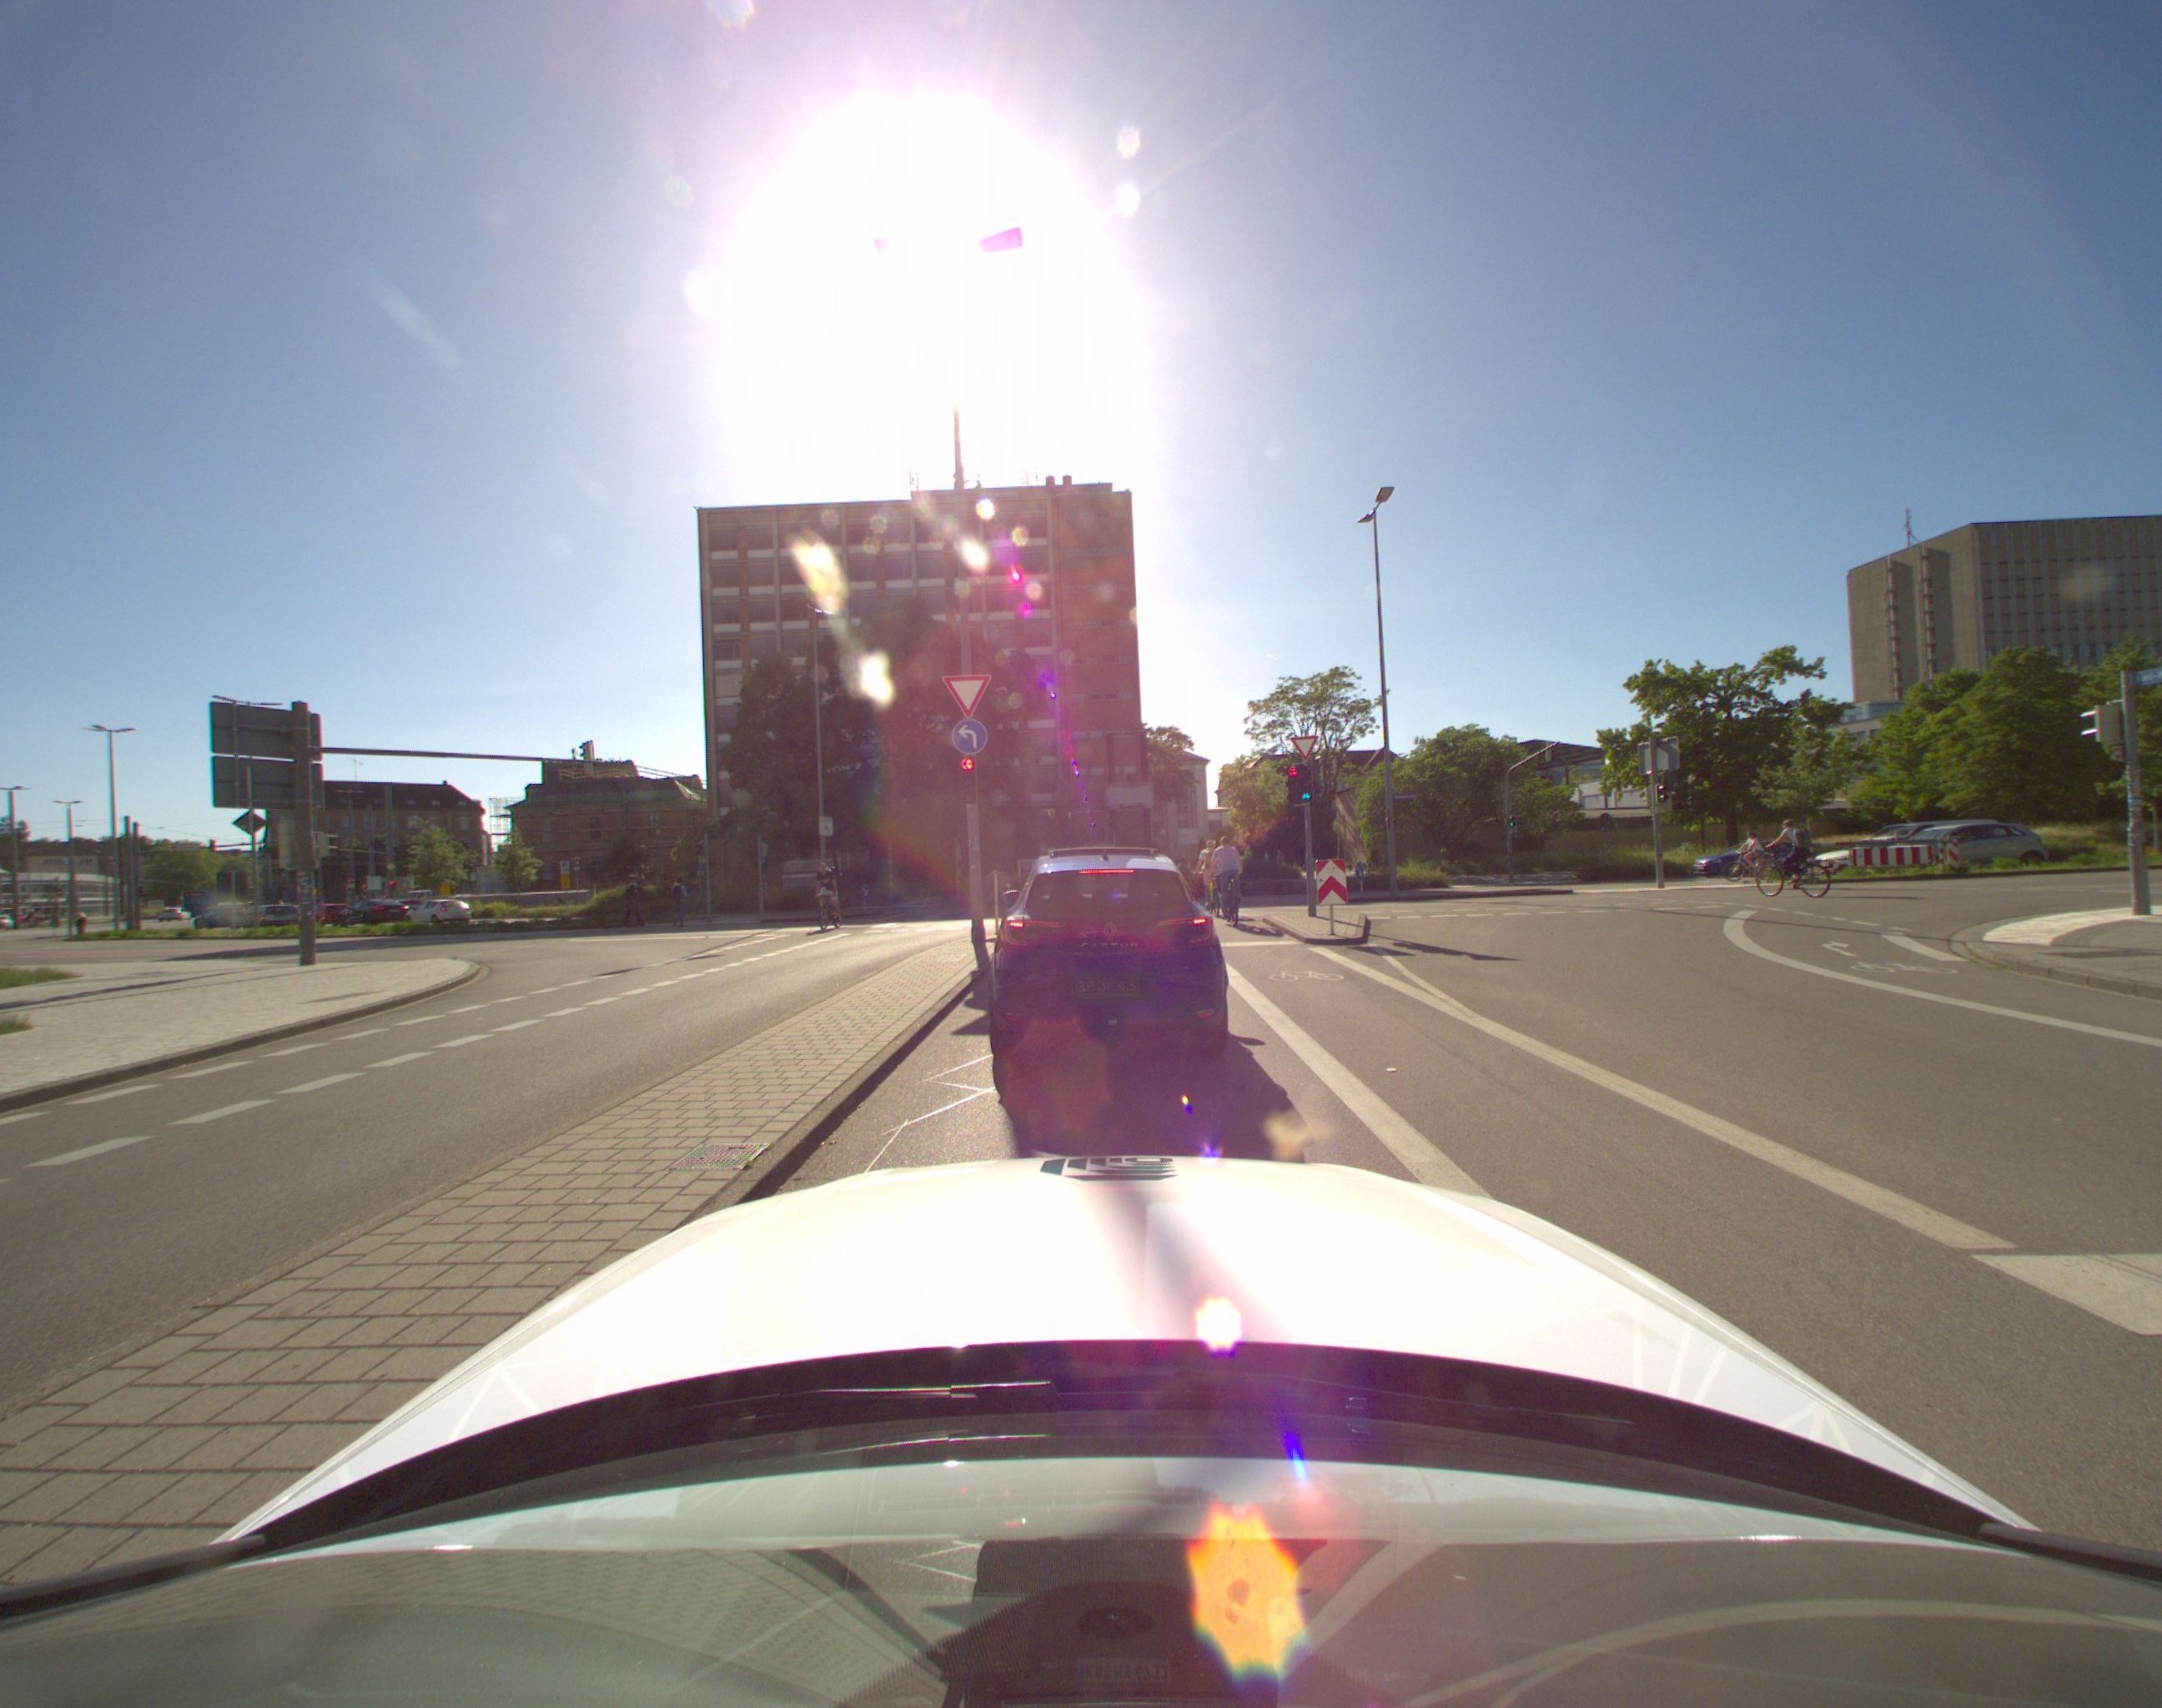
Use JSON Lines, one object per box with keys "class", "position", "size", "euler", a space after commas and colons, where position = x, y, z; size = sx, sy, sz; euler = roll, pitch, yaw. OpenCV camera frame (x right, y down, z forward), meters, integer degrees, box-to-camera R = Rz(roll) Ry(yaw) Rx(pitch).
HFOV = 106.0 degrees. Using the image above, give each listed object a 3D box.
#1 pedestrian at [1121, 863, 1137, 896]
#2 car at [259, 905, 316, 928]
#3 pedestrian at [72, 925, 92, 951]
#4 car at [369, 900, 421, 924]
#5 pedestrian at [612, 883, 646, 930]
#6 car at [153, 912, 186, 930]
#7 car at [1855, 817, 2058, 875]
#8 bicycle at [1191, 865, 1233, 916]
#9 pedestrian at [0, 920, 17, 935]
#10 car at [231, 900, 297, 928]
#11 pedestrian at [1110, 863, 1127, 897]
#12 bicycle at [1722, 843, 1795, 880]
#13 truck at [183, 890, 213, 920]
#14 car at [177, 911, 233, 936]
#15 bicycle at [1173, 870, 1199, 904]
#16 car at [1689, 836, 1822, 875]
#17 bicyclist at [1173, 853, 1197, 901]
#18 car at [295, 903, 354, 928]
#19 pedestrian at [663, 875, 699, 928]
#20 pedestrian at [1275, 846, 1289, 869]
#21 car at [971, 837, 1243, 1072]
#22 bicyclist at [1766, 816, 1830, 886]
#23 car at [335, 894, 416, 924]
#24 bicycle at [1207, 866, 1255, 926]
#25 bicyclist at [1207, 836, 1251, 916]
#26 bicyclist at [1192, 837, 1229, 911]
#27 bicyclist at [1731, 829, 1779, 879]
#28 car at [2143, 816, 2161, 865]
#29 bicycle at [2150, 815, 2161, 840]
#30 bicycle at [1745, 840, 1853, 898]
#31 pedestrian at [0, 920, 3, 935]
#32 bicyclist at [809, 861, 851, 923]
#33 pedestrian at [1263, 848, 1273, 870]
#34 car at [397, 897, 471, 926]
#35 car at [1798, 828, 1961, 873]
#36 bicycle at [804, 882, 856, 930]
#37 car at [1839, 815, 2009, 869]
{"class": "pedestrian", "position": [2.654, 1.394, 44.841], "size": [0.727, 1.782, 0.735], "euler": [-1, -1, 19]}
{"class": "car", "position": [-53.610, 4.224, 54.996], "size": [3.750, 1.443, 1.741], "euler": [-3, -3, 29]}
{"class": "pedestrian", "position": [-63.155, 5.314, 51.484], "size": [0.565, 1.611, 0.573], "euler": [0, -1, 1]}
{"class": "car", "position": [-50.407, 4.283, 59.813], "size": [3.578, 1.618, 1.894], "euler": [-4, -3, 31]}
{"class": "pedestrian", "position": [-15.953, 1.851, 28.763], "size": [0.711, 1.612, 0.685], "euler": [-3, -1, 16]}
{"class": "car", "position": [-97.960, 7.185, 87.565], "size": [1.795, 1.544, 3.598], "euler": [0, -1, -39]}
{"class": "car", "position": [28.020, -0.209, 26.192], "size": [4.281, 1.625, 1.792], "euler": [-2, -2, 5]}
{"class": "bicycle", "position": [3.222, 0.865, 20.171], "size": [0.743, 1.165, 1.871], "euler": [-2, 0, 2]}
{"class": "pedestrian", "position": [-102.142, 6.980, 77.481], "size": [0.689, 1.408, 0.865], "euler": [0, -1, 0]}
{"class": "car", "position": [-48.914, 3.581, 48.751], "size": [3.750, 1.442, 1.741], "euler": [-3, 0, 28]}
{"class": "pedestrian", "position": [2.000, 1.372, 43.785], "size": [0.727, 1.816, 0.735], "euler": [-1, -1, 19]}
{"class": "bicycle", "position": [24.123, 0.264, 29.029], "size": [1.856, 1.165, 0.749], "euler": [-4, -1, 3]}
{"class": "truck", "position": [-116.108, 6.633, 107.050], "size": [5.159, 3.675, 2.618], "euler": [-1, -1, 42]}
{"class": "car", "position": [-55.252, 4.369, 51.328], "size": [3.859, 1.443, 1.741], "euler": [-3, -3, 33]}
{"class": "bicycle", "position": [3.889, 1.212, 30.398], "size": [0.743, 1.165, 1.871], "euler": [-2, 0, 2]}
{"class": "car", "position": [28.163, 0.077, 34.111], "size": [3.967, 1.442, 1.707], "euler": [-2, -2, 5]}
{"class": "bicyclist", "position": [3.878, 0.850, 30.425], "size": [0.717, 1.735, 0.978], "euler": [-2, -1, 1]}
{"class": "car", "position": [-48.020, 3.894, 51.659], "size": [3.674, 1.443, 1.687], "euler": [-3, -3, 29]}
{"class": "pedestrian", "position": [-14.372, 1.694, 29.283], "size": [0.753, 1.833, 1.093], "euler": [-2, -2, -6]}
{"class": "pedestrian", "position": [14.193, 0.240, 57.535], "size": [0.669, 1.643, 0.740], "euler": [-1, -1, 38]}
{"class": "car", "position": [0.239, 0.702, 7.518], "size": [1.870, 1.617, 3.799], "euler": [0, 0, 2]}
{"class": "bicyclist", "position": [15.557, -0.066, 17.684], "size": [0.639, 1.444, 0.776], "euler": [-3, 1, -2]}
{"class": "car", "position": [-42.580, 3.327, 49.162], "size": [4.324, 1.624, 2.002], "euler": [-3, -1, 24]}
{"class": "bicycle", "position": [3.145, 0.852, 17.227], "size": [0.713, 1.165, 1.871], "euler": [-2, 0, 3]}
{"class": "bicyclist", "position": [3.127, 0.449, 17.280], "size": [0.717, 1.617, 0.978], "euler": [-2, -1, 1]}
{"class": "bicyclist", "position": [3.207, 0.498, 20.247], "size": [0.717, 1.763, 0.978], "euler": [-2, -1, 1]}
{"class": "bicyclist", "position": [24.010, -0.005, 29.036], "size": [0.970, 1.685, 0.747], "euler": [-4, -1, 3]}
{"class": "car", "position": [36.865, -0.554, 25.329], "size": [4.685, 1.554, 1.986], "euler": [-2, -2, 5]}
{"class": "bicycle", "position": [52.490, -1.314, 38.920], "size": [1.945, 1.165, 0.643], "euler": [-4, 2, -1]}
{"class": "bicycle", "position": [15.581, 0.290, 17.751], "size": [0.639, 1.165, 1.869], "euler": [-3, 1, -1]}
{"class": "pedestrian", "position": [-102.209, 6.972, 76.506], "size": [0.689, 1.408, 0.865], "euler": [0, -1, 0]}
{"class": "bicyclist", "position": [-6.890, 1.035, 22.382], "size": [0.717, 1.621, 0.978], "euler": [-4, -1, 1]}
{"class": "pedestrian", "position": [14.056, 0.371, 61.201], "size": [0.670, 1.643, 0.739], "euler": [-1, -1, 16]}
{"class": "car", "position": [-36.412, 3.250, 45.854], "size": [3.690, 1.436, 1.706], "euler": [-3, -1, 24]}
{"class": "car", "position": [30.324, -0.112, 31.048], "size": [3.962, 1.469, 2.005], "euler": [-3, -1, 10]}
{"class": "bicycle", "position": [-6.869, 1.410, 22.394], "size": [0.743, 1.165, 1.871], "euler": [-4, -1, 2]}
{"class": "car", "position": [34.821, -0.451, 33.751], "size": [4.718, 1.953, 1.942], "euler": [-2, -2, 5]}
